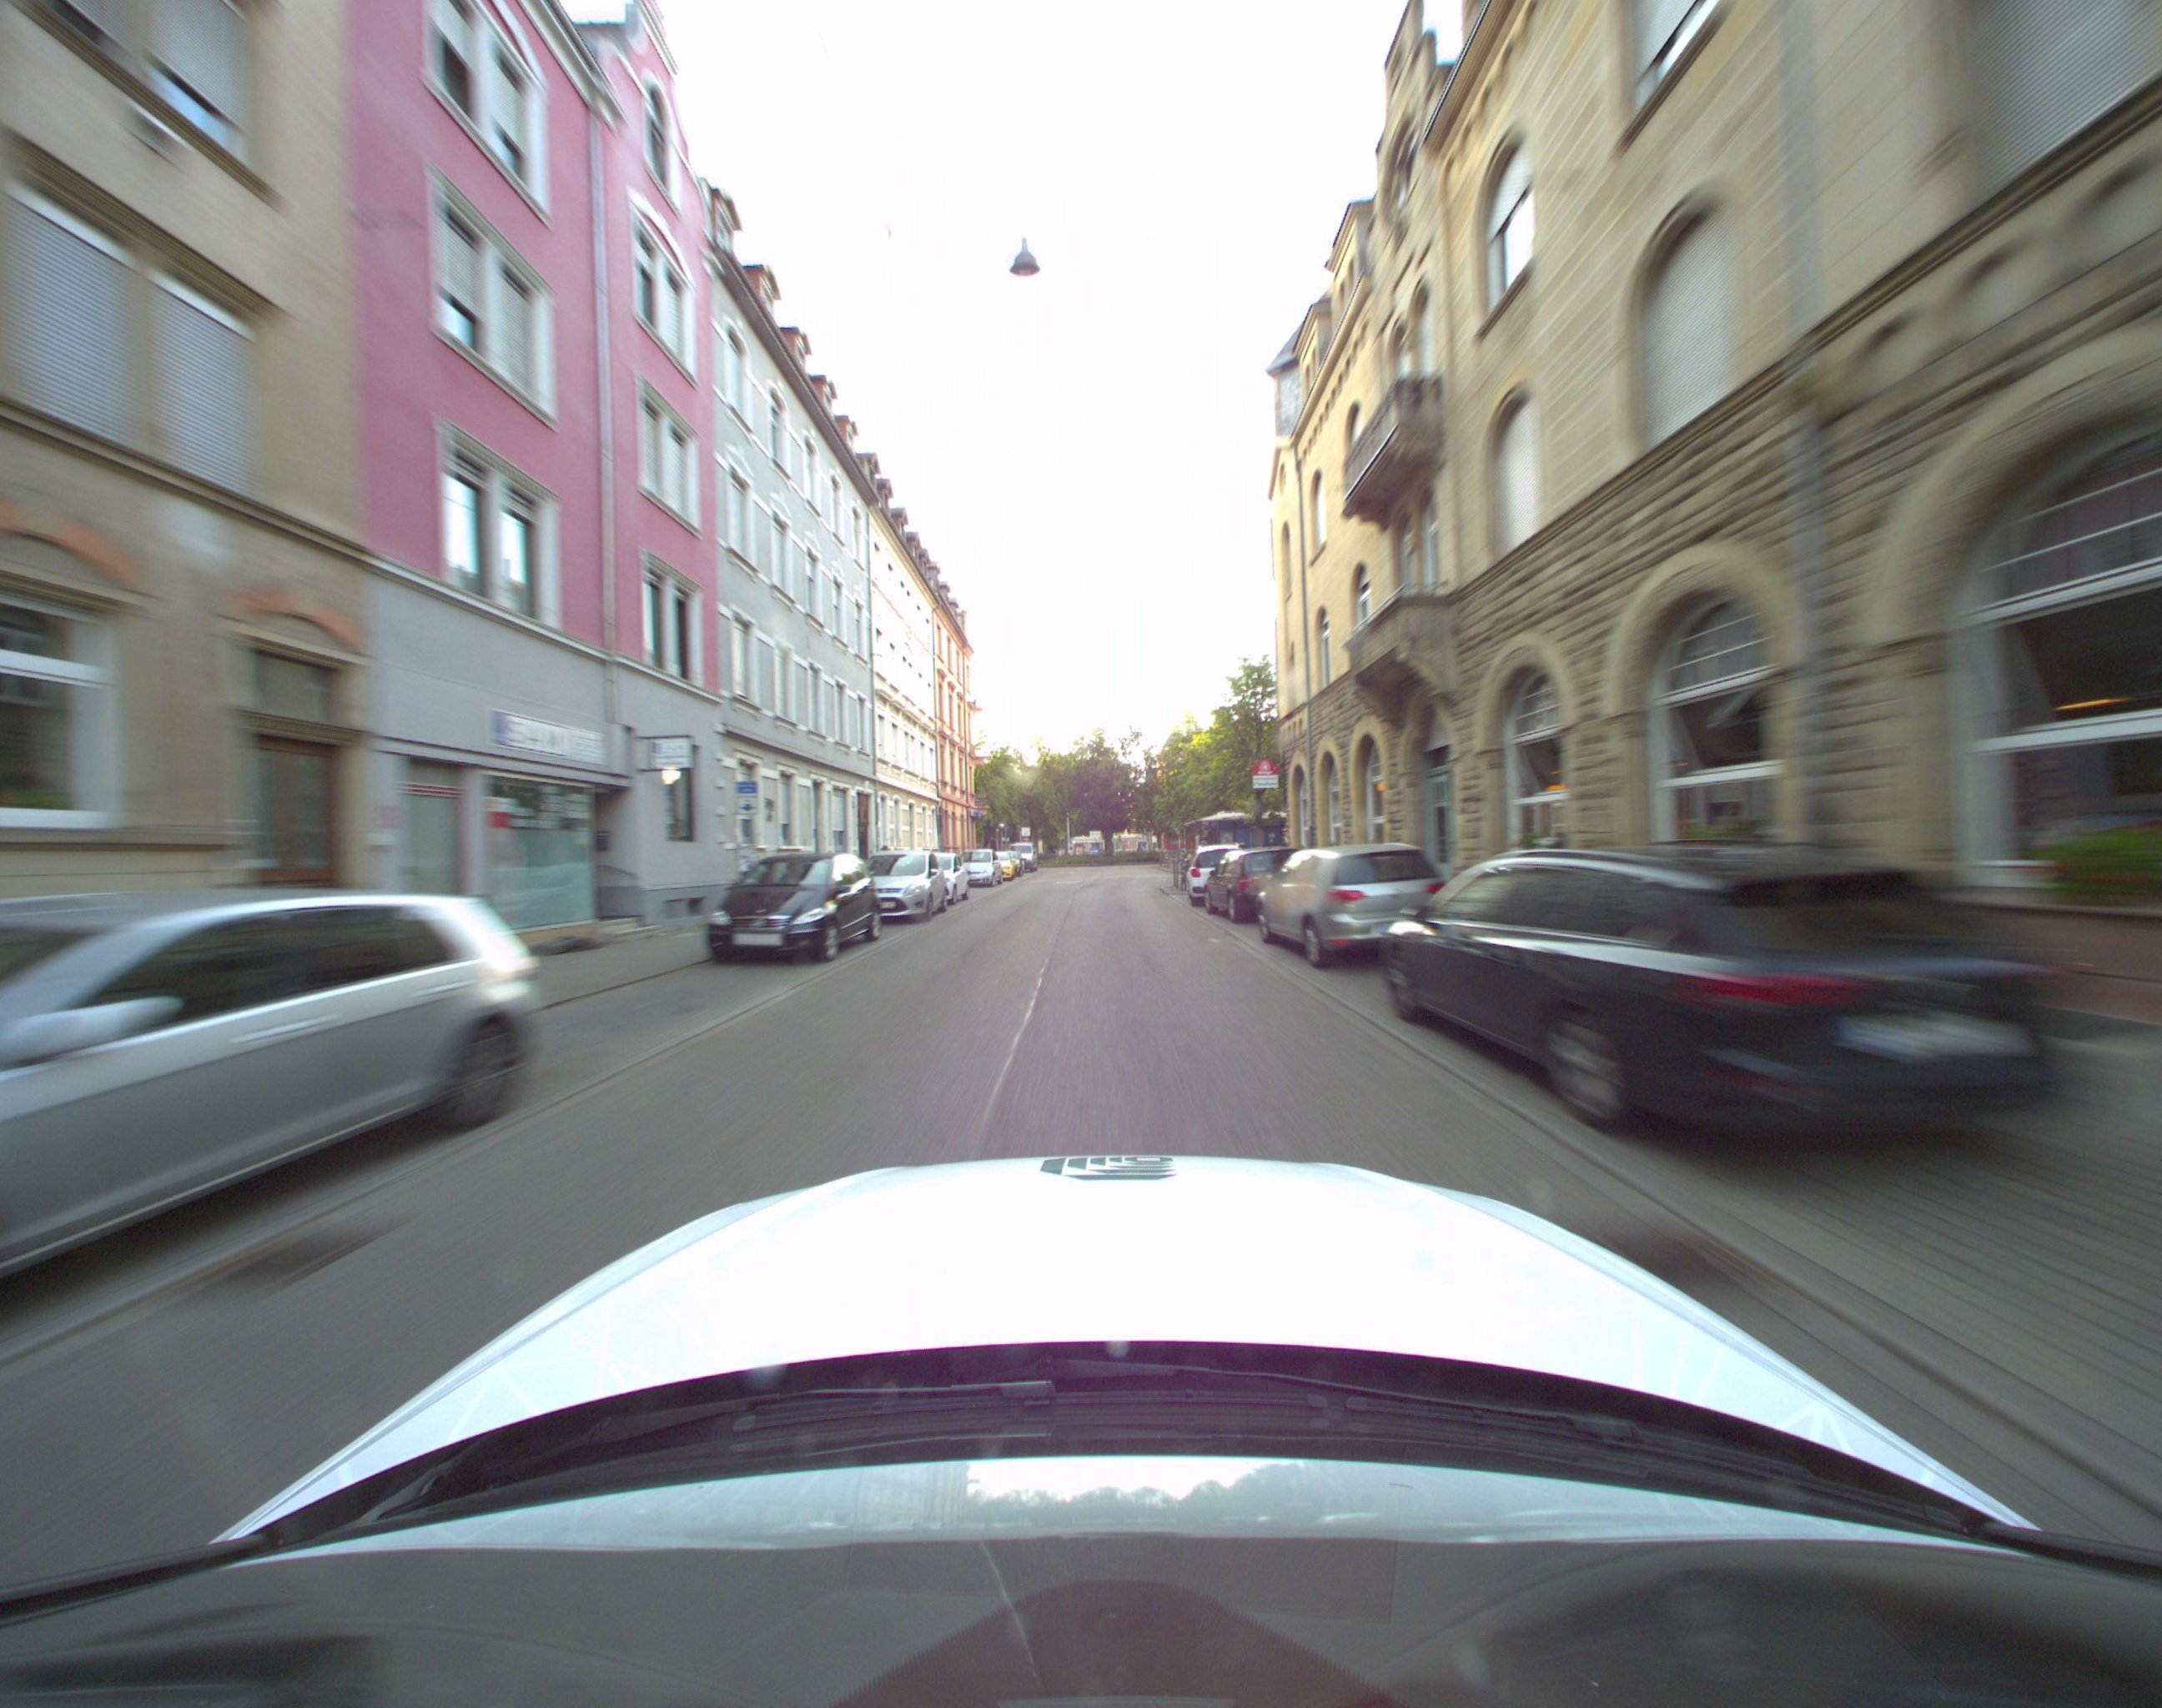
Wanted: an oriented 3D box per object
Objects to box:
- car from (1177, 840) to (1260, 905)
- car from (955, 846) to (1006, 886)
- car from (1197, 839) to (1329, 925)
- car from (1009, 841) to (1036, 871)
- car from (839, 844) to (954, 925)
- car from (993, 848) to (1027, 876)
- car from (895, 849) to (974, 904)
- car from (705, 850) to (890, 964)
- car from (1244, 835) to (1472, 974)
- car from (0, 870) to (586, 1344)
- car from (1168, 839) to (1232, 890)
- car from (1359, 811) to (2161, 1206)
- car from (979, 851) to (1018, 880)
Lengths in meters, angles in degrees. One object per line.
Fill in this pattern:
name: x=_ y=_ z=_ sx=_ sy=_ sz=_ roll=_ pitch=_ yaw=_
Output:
car: x=3.642 y=0.441 z=22.170 sx=1.669 sy=1.501 sz=3.903 roll=-5 pitch=0 yaw=2
car: x=-4.318 y=0.473 z=35.460 sx=1.692 sy=1.621 sz=4.022 roll=0 pitch=0 yaw=1
car: x=3.668 y=0.517 z=17.091 sx=1.672 sy=1.456 sz=3.796 roll=-5 pitch=0 yaw=-3
car: x=-3.979 y=0.113 z=55.795 sx=1.807 sy=1.977 sz=4.181 roll=0 pitch=0 yaw=-3
car: x=-4.226 y=0.633 z=19.337 sx=1.840 sy=1.659 sz=4.249 roll=-2 pitch=0 yaw=-2
car: x=-4.115 y=0.428 z=47.647 sx=1.694 sy=1.552 sz=4.019 roll=0 pitch=0 yaw=-2
car: x=-4.347 y=0.619 z=24.622 sx=1.692 sy=1.552 sz=3.569 roll=0 pitch=0 yaw=0
car: x=-4.362 y=0.722 z=13.156 sx=1.631 sy=1.565 sz=3.781 roll=-1 pitch=0 yaw=0
car: x=3.593 y=0.565 z=11.423 sx=1.671 sy=1.456 sz=4.230 roll=-5 pitch=0 yaw=0
car: x=-4.459 y=0.872 z=3.635 sx=1.827 sy=1.458 sz=4.207 roll=1 pitch=0 yaw=1
car: x=4.017 y=0.312 z=27.986 sx=1.669 sy=1.501 sz=4.020 roll=-5 pitch=0 yaw=2
car: x=3.469 y=0.596 z=5.481 sx=1.670 sy=1.429 sz=4.480 roll=-5 pitch=0 yaw=2
car: x=-4.161 y=0.551 z=41.716 sx=1.694 sy=1.426 sz=4.019 roll=0 pitch=0 yaw=-2
